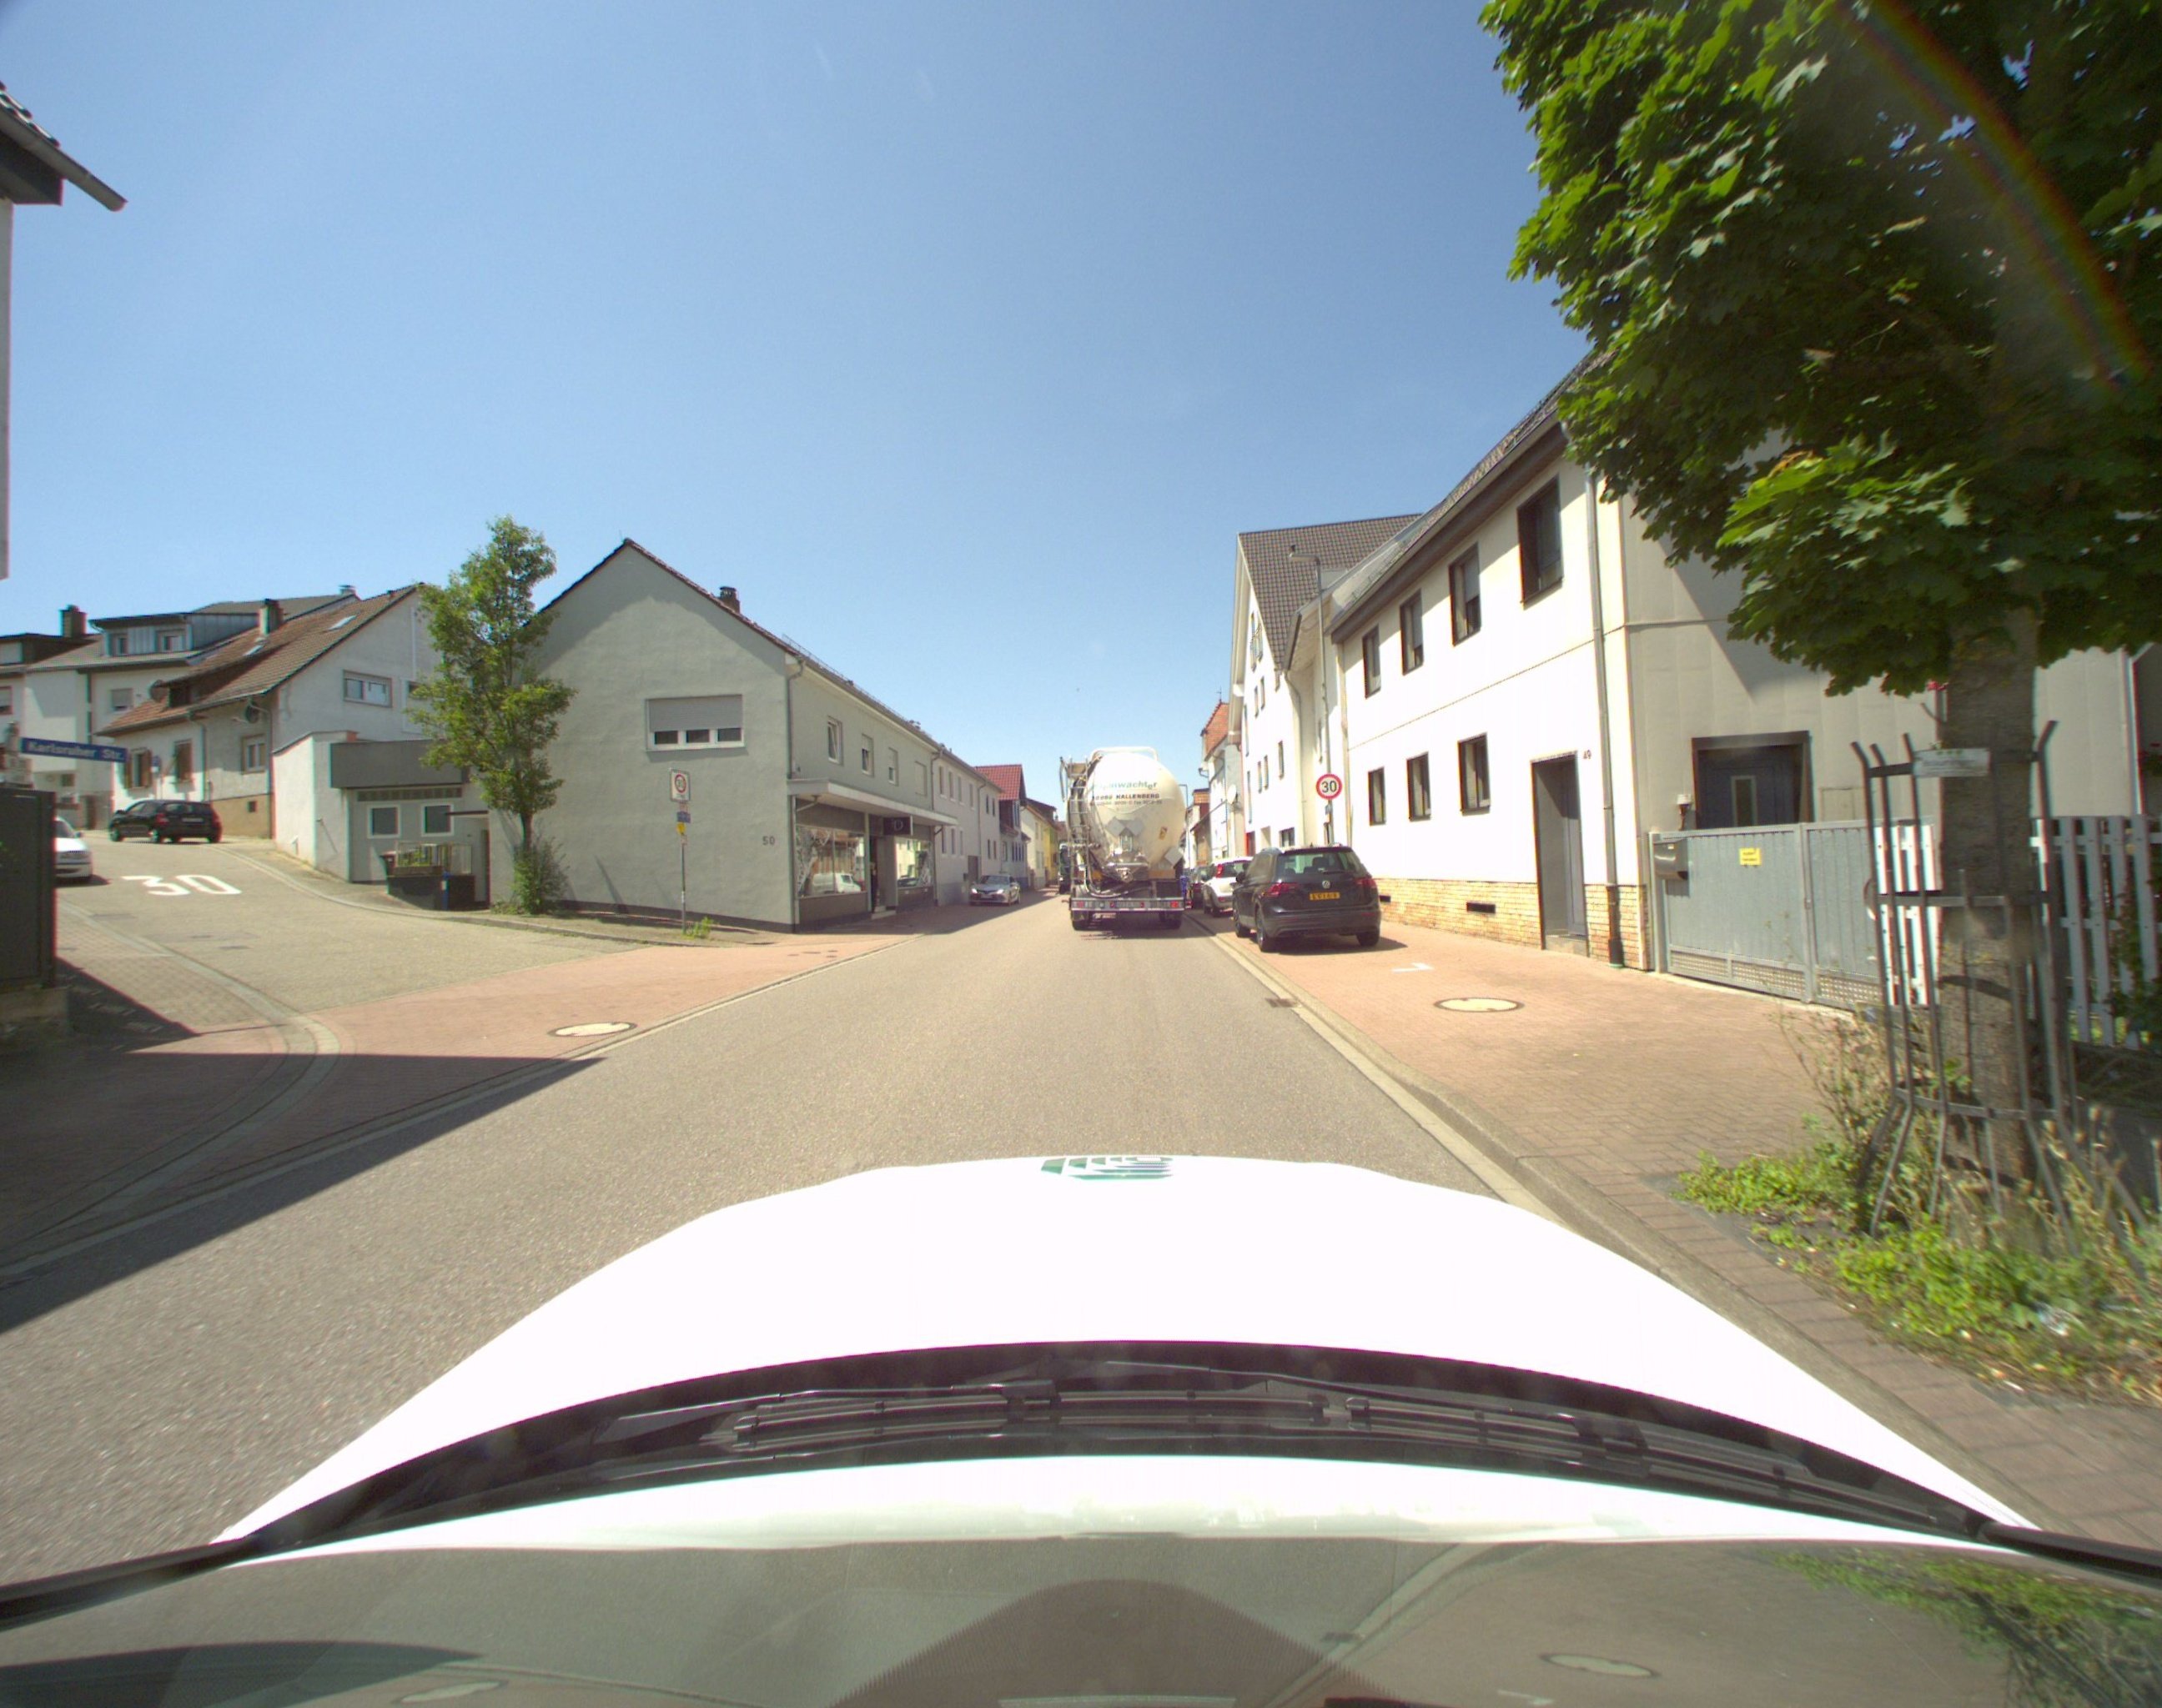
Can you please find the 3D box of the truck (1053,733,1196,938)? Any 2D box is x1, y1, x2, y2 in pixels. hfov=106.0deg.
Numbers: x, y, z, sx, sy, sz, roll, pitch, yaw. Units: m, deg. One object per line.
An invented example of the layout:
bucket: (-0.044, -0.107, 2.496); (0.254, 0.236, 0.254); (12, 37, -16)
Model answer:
truck: (1.091, -0.268, 20.004); (2.721, 3.960, 8.148); (-1, -1, 3)

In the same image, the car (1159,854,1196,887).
car: (6.371, 1.097, 54.033); (1.939, 1.970, 4.786); (-3, -1, 1)

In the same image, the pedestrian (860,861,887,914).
pedestrian: (-6.802, 1.092, 26.737); (0.622, 1.685, 0.771); (-1, -2, 2)

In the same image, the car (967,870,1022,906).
car: (-3.980, 1.541, 38.172); (1.800, 1.557, 4.568); (0, -1, 3)

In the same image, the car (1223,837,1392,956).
car: (3.686, 0.635, 14.114); (1.795, 1.614, 4.552); (-4, -1, 3)

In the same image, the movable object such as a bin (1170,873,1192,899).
movable object such as a bin: (4.523, 1.438, 36.661); (0.716, 1.073, 0.976); (-4, -2, 19)

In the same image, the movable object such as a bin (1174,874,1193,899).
movable object such as a bin: (4.522, 1.427, 35.953); (0.650, 1.035, 0.687); (-4, -2, 19)

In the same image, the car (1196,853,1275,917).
car: (4.226, 0.841, 22.700); (1.600, 1.522, 3.547); (-5, -2, 3)

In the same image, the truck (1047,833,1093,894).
truck: (-0.711, 0.703, 58.755); (2.608, 3.986, 6.856); (-4, -2, 3)

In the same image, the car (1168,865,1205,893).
car: (5.963, 1.391, 46.269); (1.762, 1.466, 4.582); (-3, -1, 4)

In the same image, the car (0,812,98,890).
car: (-23.626, -0.112, 18.031); (3.873, 1.407, 1.857); (5, 2, 32)

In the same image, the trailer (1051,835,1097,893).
trailer: (-0.343, 0.891, 66.252); (2.620, 3.979, 15.707); (-4, -2, 3)

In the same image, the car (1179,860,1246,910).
car: (4.449, 1.030, 28.112); (1.693, 1.447, 4.840); (-5, -2, 3)

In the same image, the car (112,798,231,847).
car: (-31.895, -1.107, 28.553); (3.768, 1.499, 1.692); (4, 1, 25)
